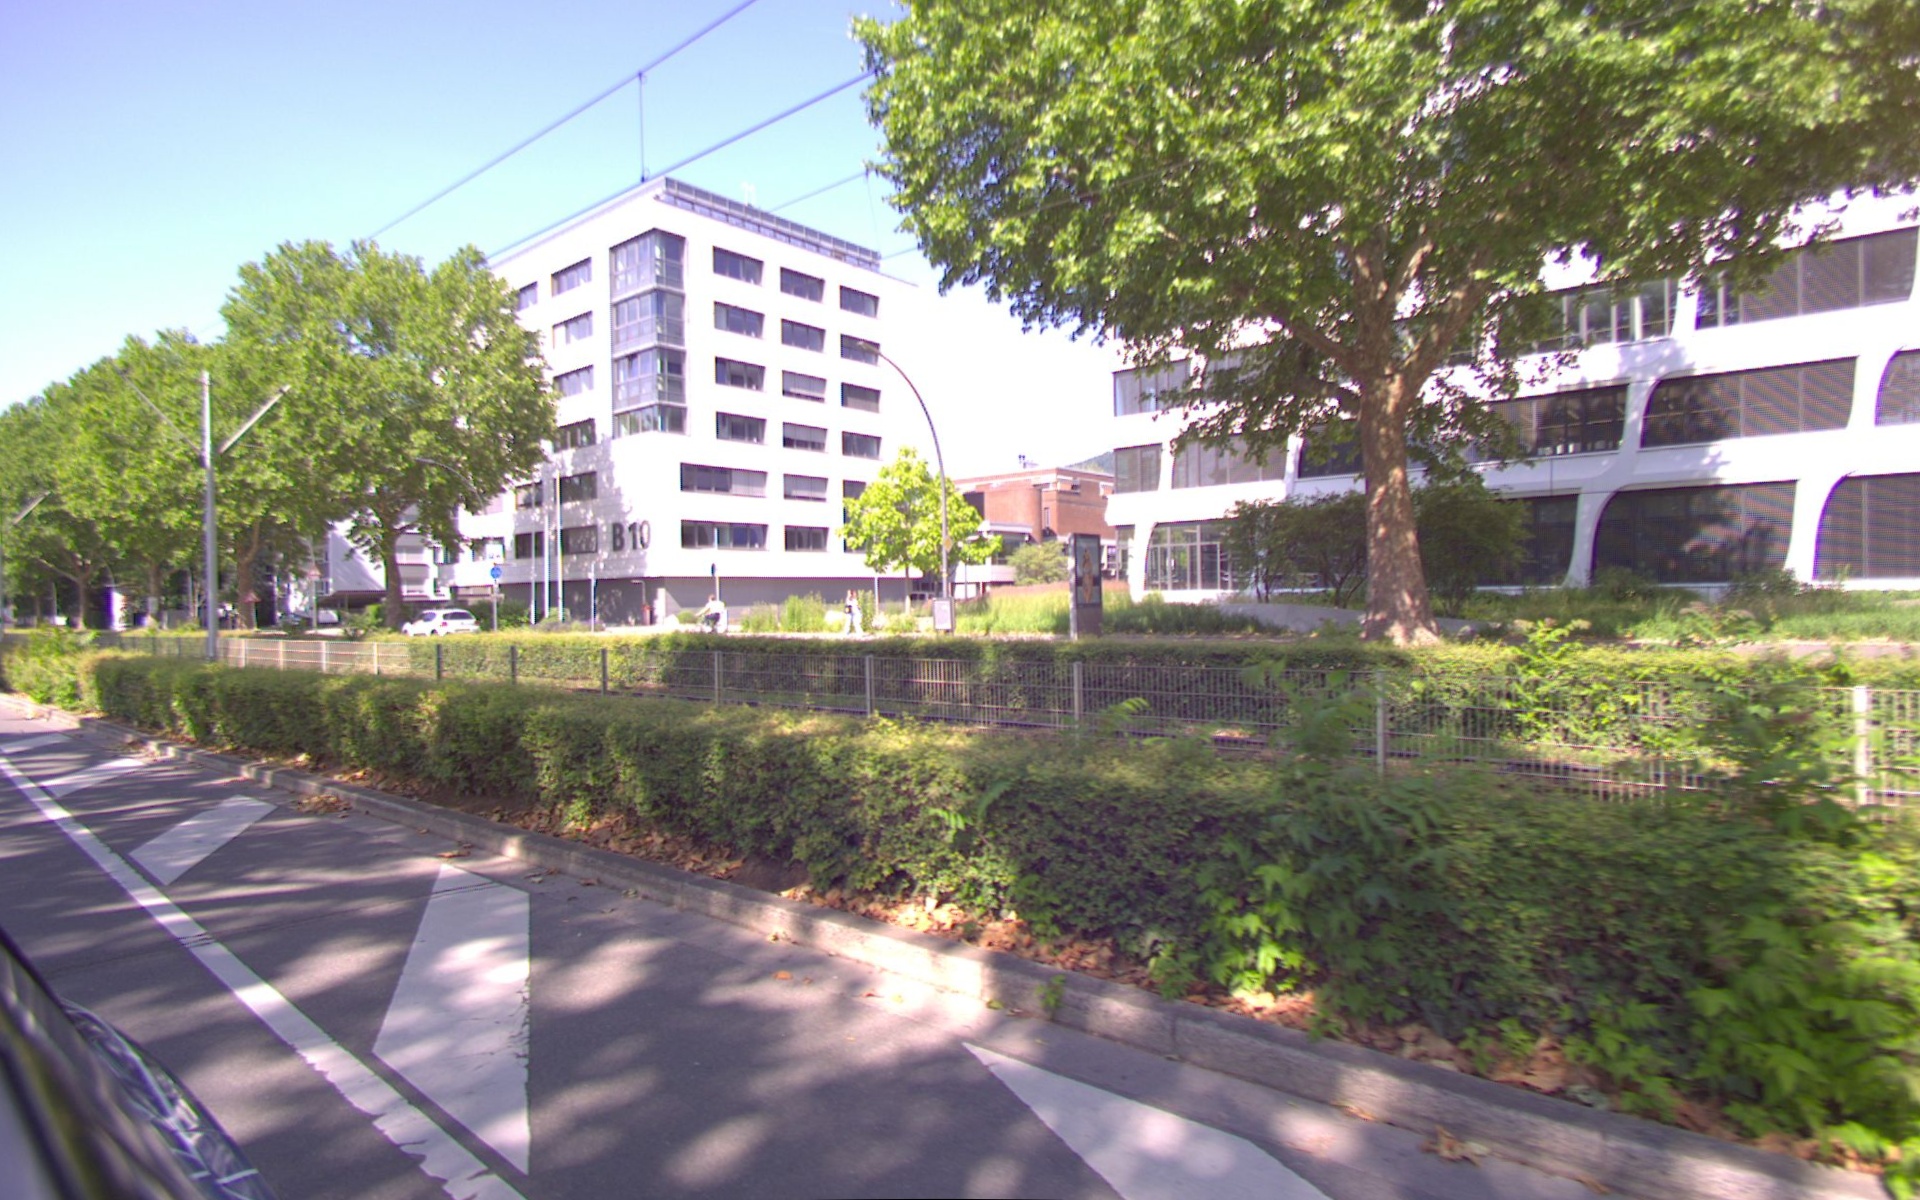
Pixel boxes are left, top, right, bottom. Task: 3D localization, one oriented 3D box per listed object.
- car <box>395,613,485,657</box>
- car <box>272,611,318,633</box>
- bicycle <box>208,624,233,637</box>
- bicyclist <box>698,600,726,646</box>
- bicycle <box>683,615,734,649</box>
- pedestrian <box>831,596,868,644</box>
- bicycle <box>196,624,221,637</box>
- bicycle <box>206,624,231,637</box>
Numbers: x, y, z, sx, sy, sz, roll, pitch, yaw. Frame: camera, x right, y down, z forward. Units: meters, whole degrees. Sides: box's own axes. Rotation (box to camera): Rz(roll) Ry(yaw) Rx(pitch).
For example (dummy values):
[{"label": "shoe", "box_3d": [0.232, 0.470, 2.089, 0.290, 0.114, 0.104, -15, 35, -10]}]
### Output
[{"label": "car", "box_3d": [-20.447, 1.351, 39.732, 4.016, 1.581, 1.738, -2, 0, 41]}, {"label": "car", "box_3d": [-50.957, 1.683, 77.517, 4.343, 1.561, 1.725, -2, 0, 39]}, {"label": "bicycle", "box_3d": [-65.659, 2.728, 89.848, 0.421, 1.111, 1.749, -2, 0, 38]}, {"label": "bicyclist", "box_3d": [-8.462, 0.791, 34.589, 0.640, 1.546, 0.648, -2, 0, 41]}, {"label": "bicycle", "box_3d": [-8.642, 1.095, 34.748, 2.029, 1.132, 0.657, -1, 0, 41]}, {"label": "pedestrian", "box_3d": [-3.752, 0.676, 34.392, 1.014, 1.600, 0.713, -1, 0, 41]}, {"label": "bicycle", "box_3d": [-67.956, 2.782, 91.522, 0.421, 1.111, 1.749, -2, 0, 38]}, {"label": "bicycle", "box_3d": [-66.016, 2.736, 90.141, 0.421, 1.111, 1.749, -2, 0, 38]}]
